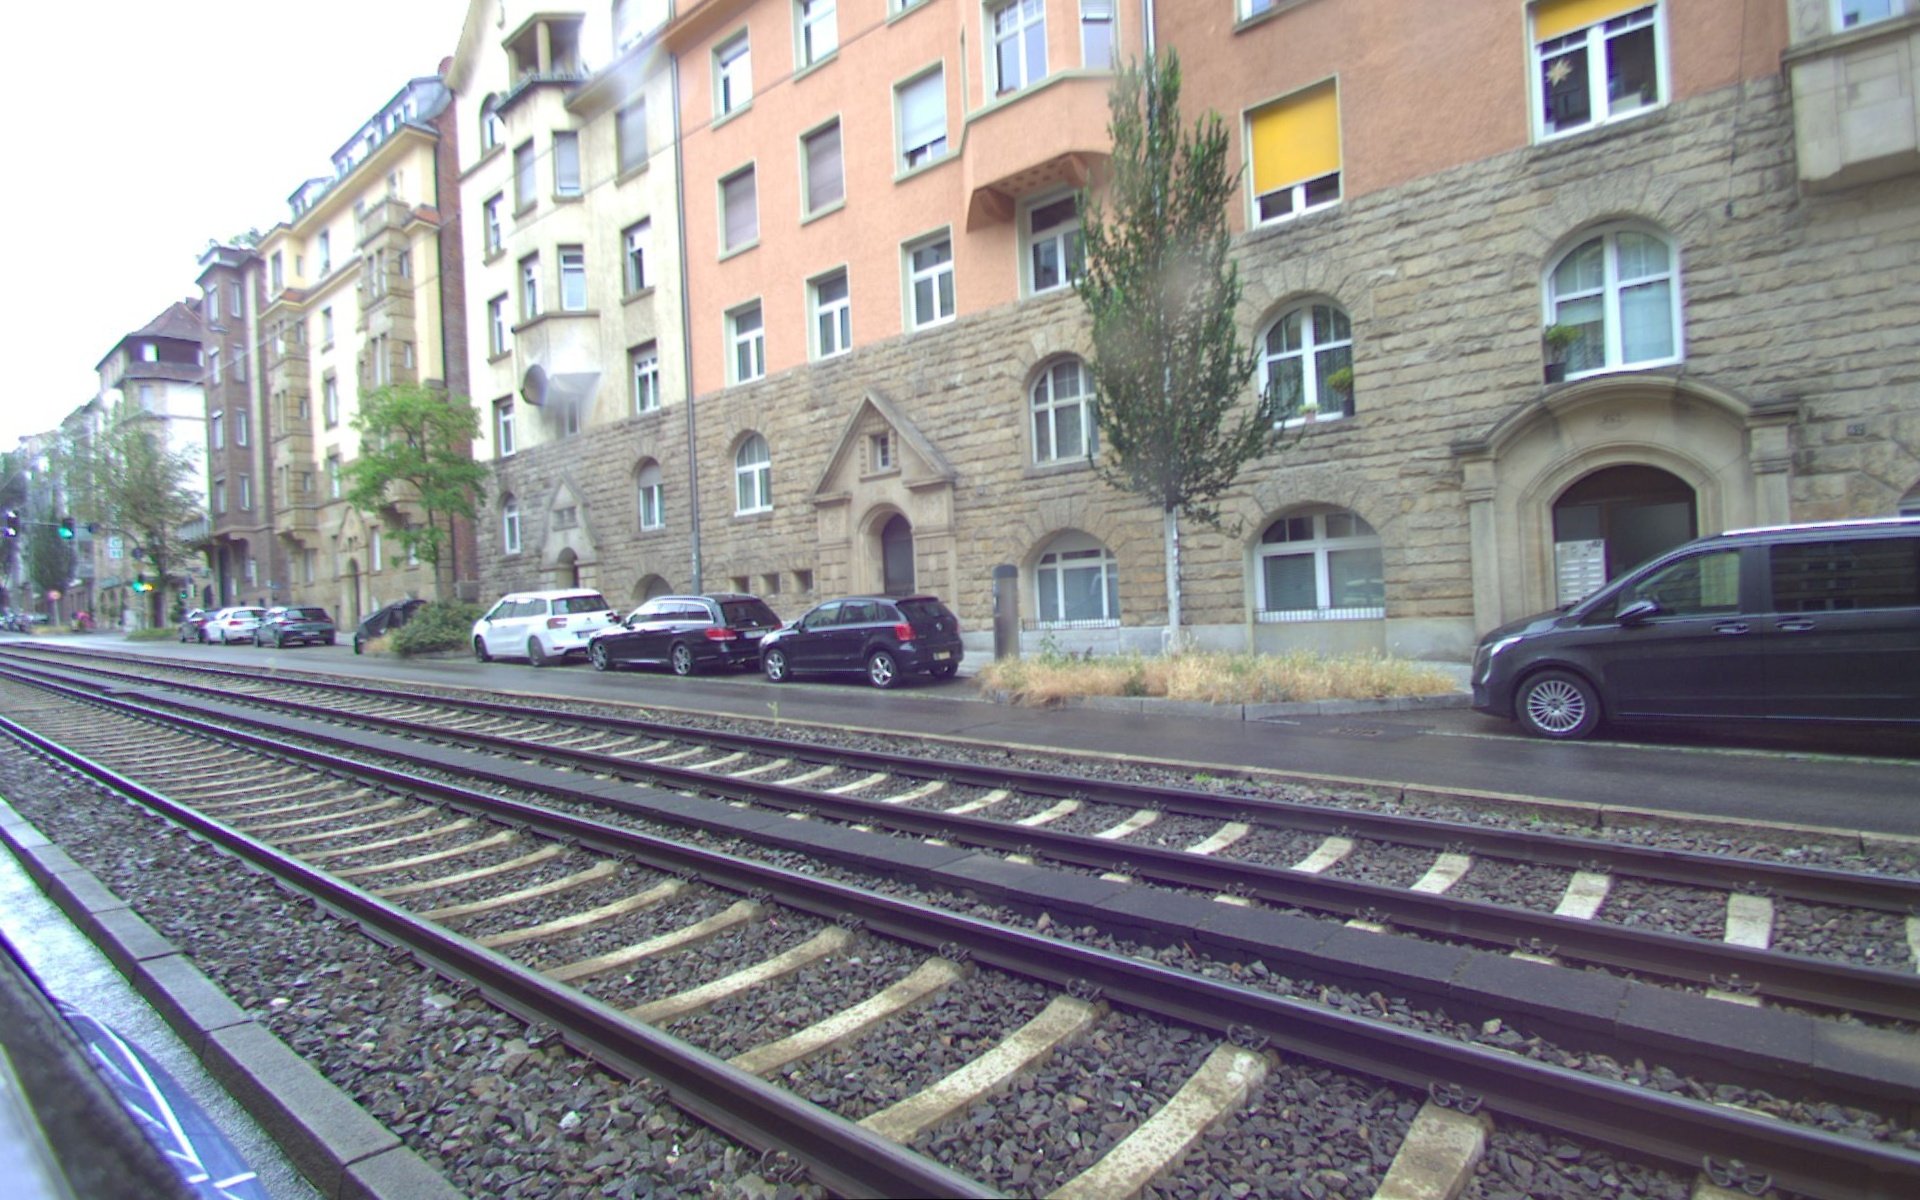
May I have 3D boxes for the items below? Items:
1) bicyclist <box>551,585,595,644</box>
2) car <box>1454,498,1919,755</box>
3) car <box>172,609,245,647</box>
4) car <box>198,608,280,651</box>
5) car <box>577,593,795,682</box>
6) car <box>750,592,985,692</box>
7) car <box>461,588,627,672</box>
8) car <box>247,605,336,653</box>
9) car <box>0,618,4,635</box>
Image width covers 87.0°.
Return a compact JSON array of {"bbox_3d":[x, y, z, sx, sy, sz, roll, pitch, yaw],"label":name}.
[{"bbox_3d":[-10.804,0.402,28.291,0.774,1.613,0.883,-1,0,41],"label":"bicyclist"},{"bbox_3d":[7.225,0.204,8.932,4.829,1.945,1.886,-1,0,40],"label":"car"},{"bbox_3d":[-32.056,1.155,43.136,3.712,1.438,1.737,-1,3,42],"label":"car"},{"bbox_3d":[-28.363,1.121,39.791,4.043,1.462,1.737,-1,3,42],"label":"car"},{"bbox_3d":[-5.463,0.673,19.848,4.593,1.502,1.738,-1,2,39],"label":"car"},{"bbox_3d":[-1.588,0.630,16.838,3.690,1.414,1.739,-1,2,38],"label":"car"},{"bbox_3d":[-9.744,0.647,23.555,4.257,1.684,1.738,-1,3,40],"label":"car"},{"bbox_3d":[-23.729,1.001,35.892,3.712,1.493,1.695,-1,3,42],"label":"car"},{"bbox_3d":[-81.601,2.239,84.799,4.255,1.356,1.771,-1,0,41],"label":"car"}]
